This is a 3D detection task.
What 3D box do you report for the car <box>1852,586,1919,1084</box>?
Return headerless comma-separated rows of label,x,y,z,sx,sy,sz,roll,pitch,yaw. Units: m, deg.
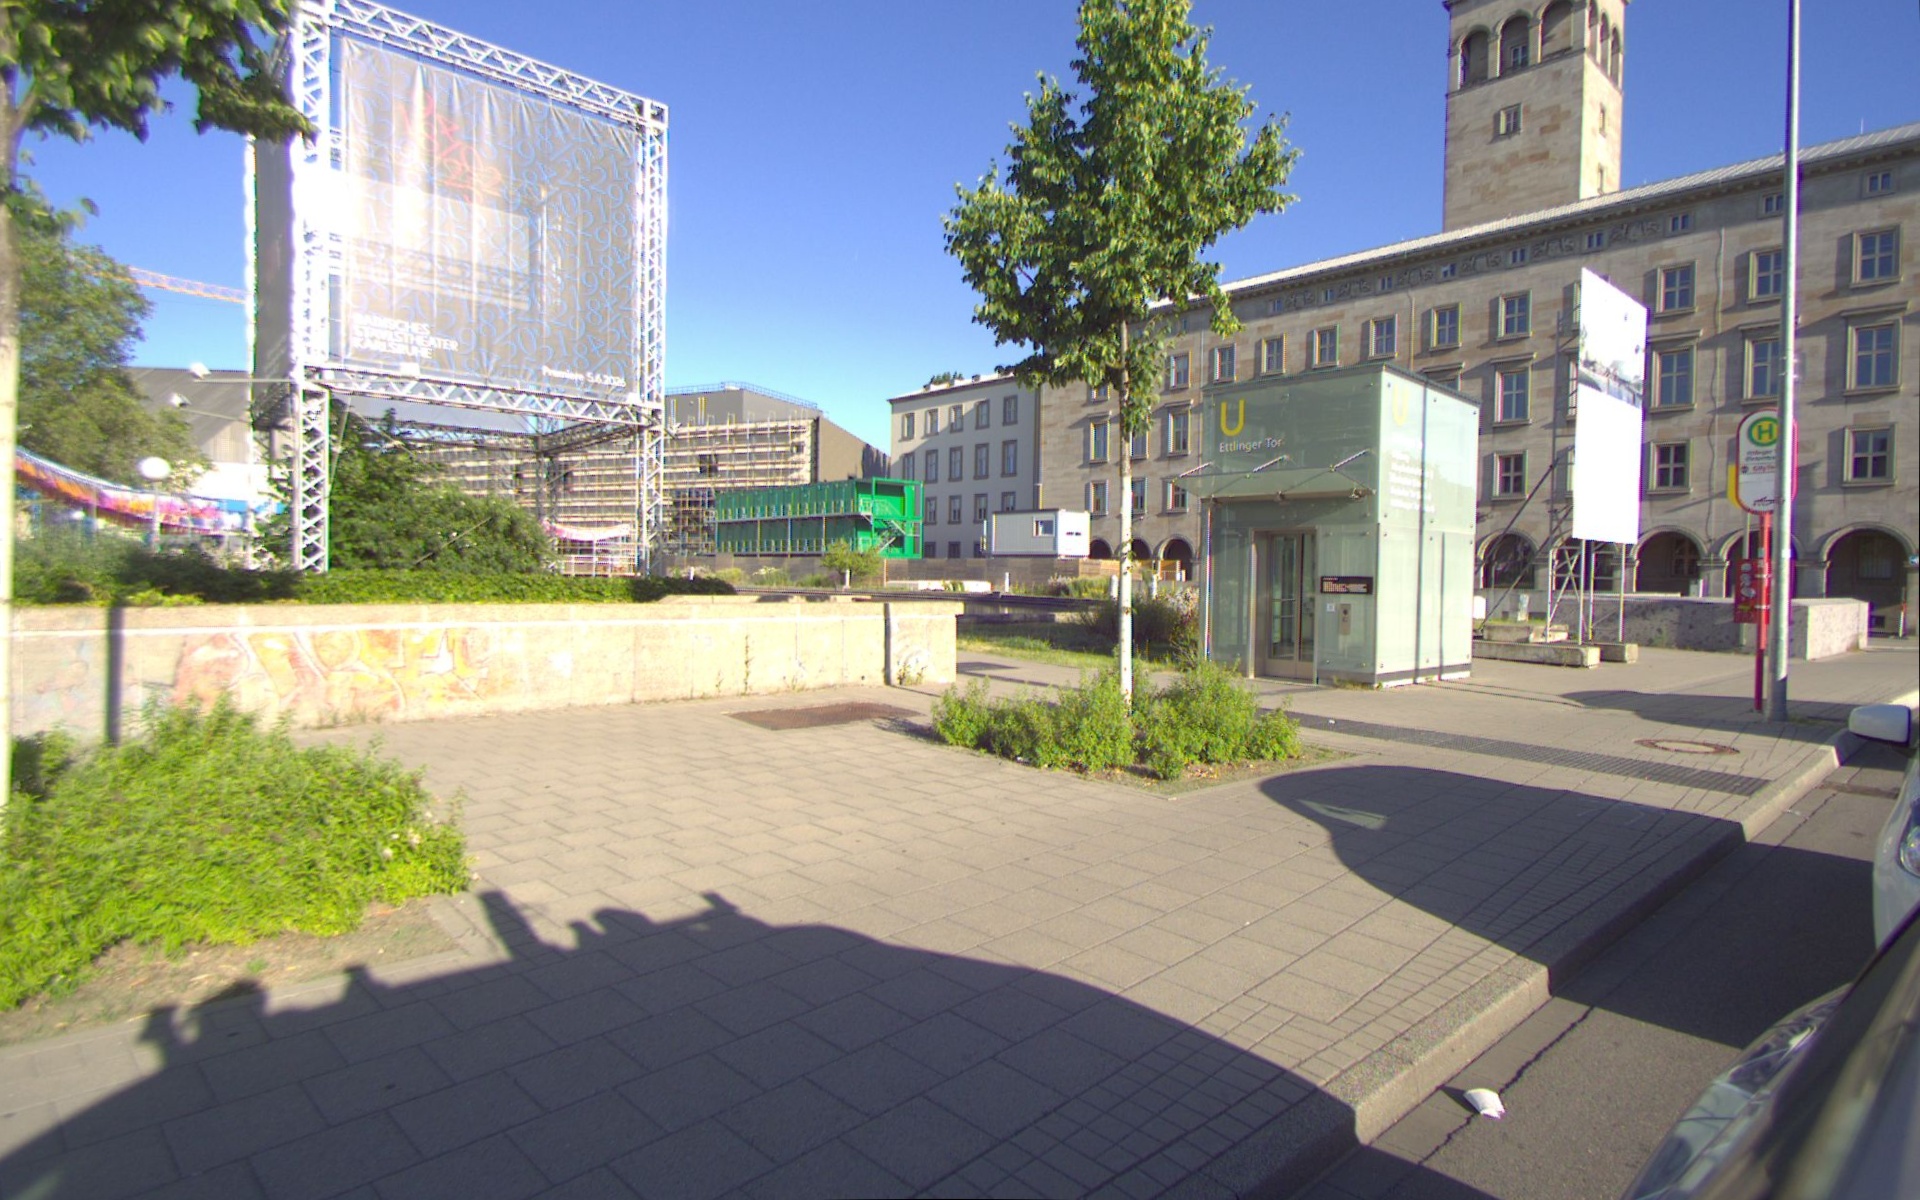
car,4.787,0.694,3.791,3.899,1.490,1.658,0,0,-41
